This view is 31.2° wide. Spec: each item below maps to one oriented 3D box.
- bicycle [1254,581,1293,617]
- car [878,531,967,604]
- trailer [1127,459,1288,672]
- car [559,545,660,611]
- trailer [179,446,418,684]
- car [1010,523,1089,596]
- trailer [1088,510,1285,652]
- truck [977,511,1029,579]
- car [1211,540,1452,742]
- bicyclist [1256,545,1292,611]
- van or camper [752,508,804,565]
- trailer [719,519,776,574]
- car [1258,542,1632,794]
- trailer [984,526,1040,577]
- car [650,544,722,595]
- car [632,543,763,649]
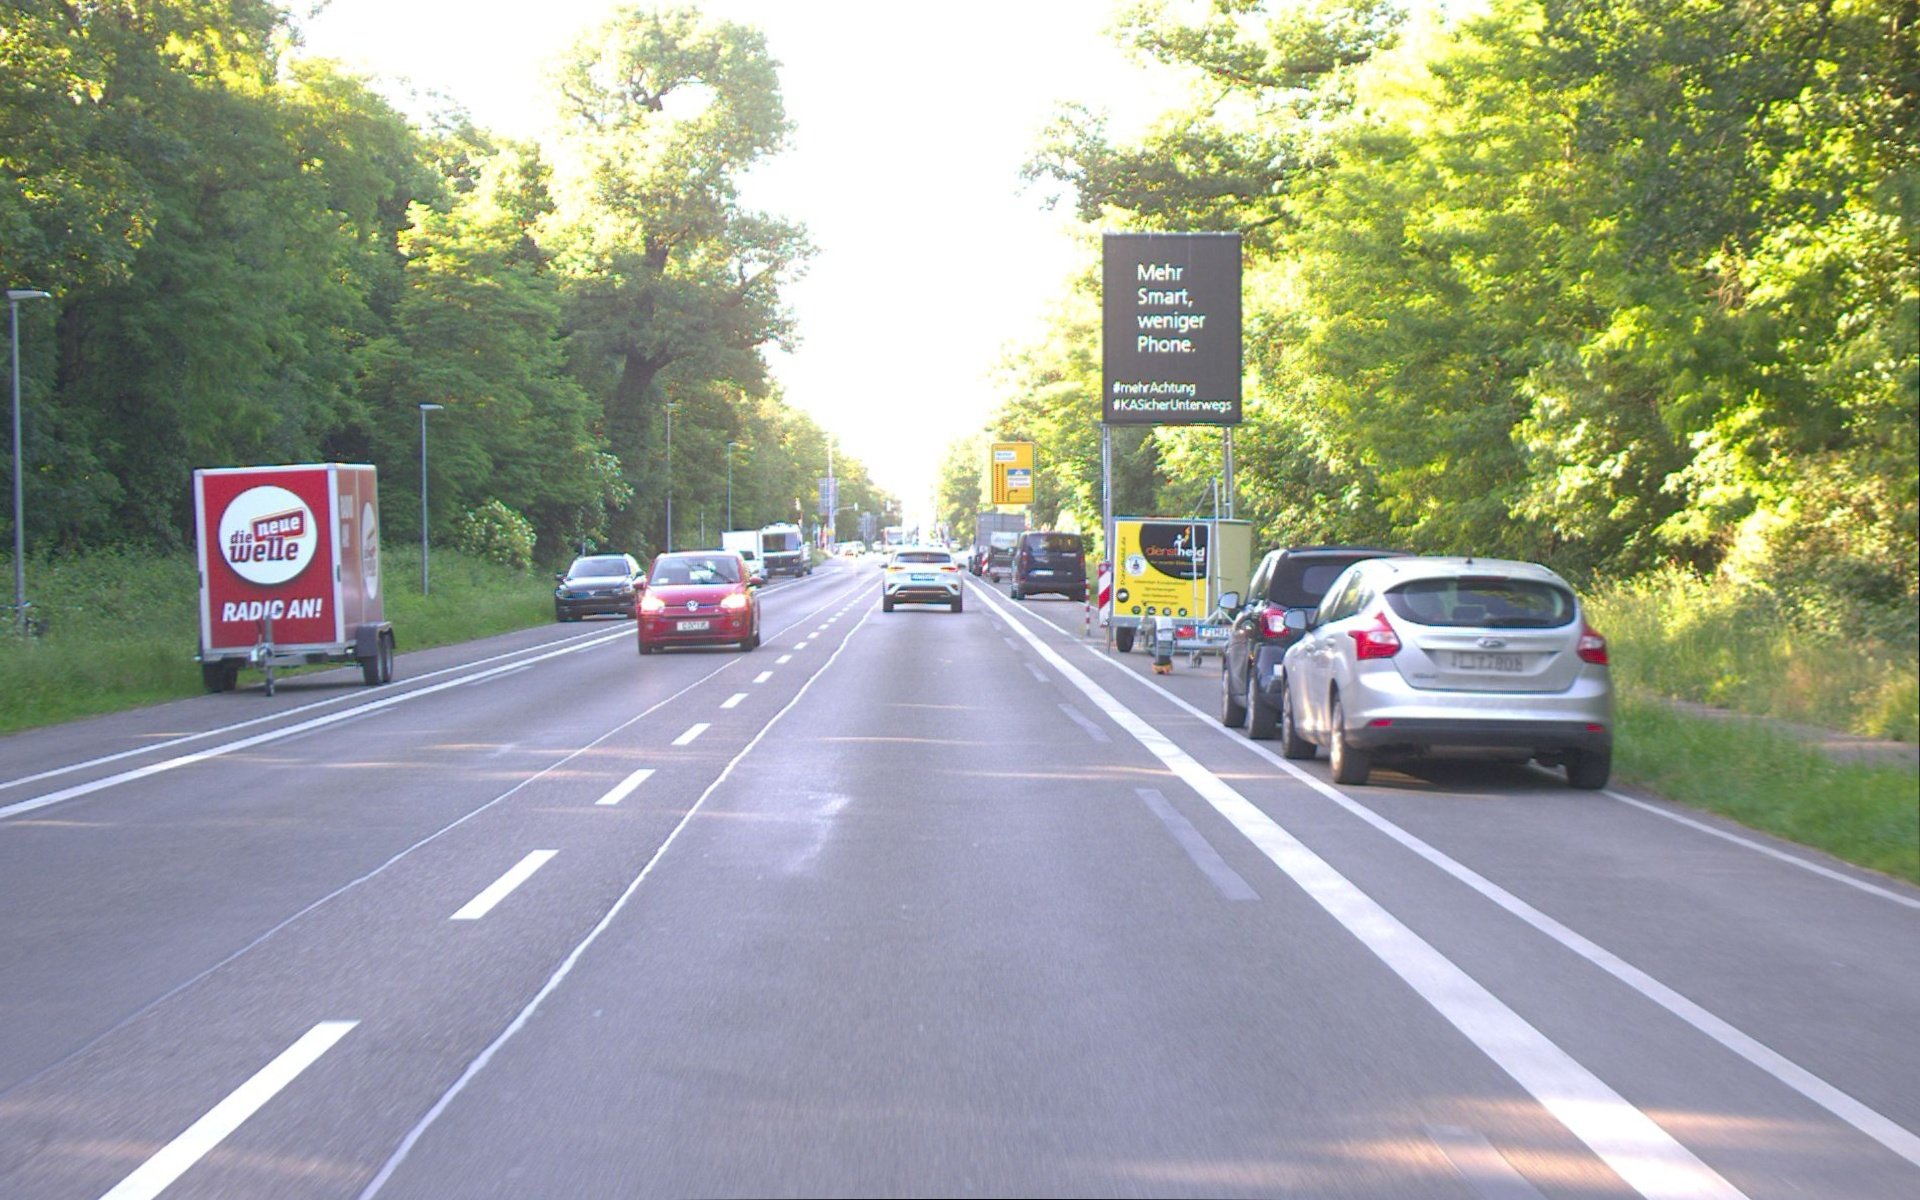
[{"bbox_3d":[6.381,-0.020,70.087,0.591,0.690,1.997,0,1,0],"label":"bicycle"},{"bbox_3d":[-0.862,-0.762,79.142,1.993,1.634,4.000,0,1,0],"label":"car"},{"bbox_3d":[3.024,-0.433,42.649,1.613,2.500,4.000,1,1,-1],"label":"trailer"},{"bbox_3d":[-7.982,-0.534,78.678,1.855,1.459,4.784,0,1,0],"label":"car"},{"bbox_3d":[-7.610,-0.421,39.942,1.993,2.612,4.086,0,1,0],"label":"trailer"},{"bbox_3d":[2.587,-1.204,100.540,2.113,2.007,5.040,2,1,0],"label":"car"},{"bbox_3d":[3.403,-0.318,51.035,1.964,2.016,3.840,1,1,19],"label":"trailer"},{"bbox_3d":[2.162,-2.778,174.759,2.505,3.355,7.107,1,1,0],"label":"truck"},{"bbox_3d":[3.003,0.293,28.288,1.586,1.525,3.011,2,1,-1],"label":"car"},{"bbox_3d":[6.396,-0.456,70.080,0.610,1.320,1.175,0,1,0],"label":"bicyclist"},{"bbox_3d":[-9.377,-3.281,177.802,2.302,2.758,5.557,-3,1,0],"label":"van or camper"},{"bbox_3d":[-9.029,-2.268,146.438,2.075,2.285,3.486,-1,1,1],"label":"trailer"},{"bbox_3d":[3.164,0.381,23.280,1.734,1.482,4.401,2,1,-2],"label":"car"},{"bbox_3d":[2.189,-2.037,144.769,1.616,2.105,2.394,1,1,20],"label":"trailer"},{"bbox_3d":[-8.413,-0.952,105.863,1.867,1.445,4.071,-3,1,0],"label":"car"},{"bbox_3d":[-3.736,-0.080,49.353,1.604,1.416,3.519,-2,1,-1],"label":"car"}]
